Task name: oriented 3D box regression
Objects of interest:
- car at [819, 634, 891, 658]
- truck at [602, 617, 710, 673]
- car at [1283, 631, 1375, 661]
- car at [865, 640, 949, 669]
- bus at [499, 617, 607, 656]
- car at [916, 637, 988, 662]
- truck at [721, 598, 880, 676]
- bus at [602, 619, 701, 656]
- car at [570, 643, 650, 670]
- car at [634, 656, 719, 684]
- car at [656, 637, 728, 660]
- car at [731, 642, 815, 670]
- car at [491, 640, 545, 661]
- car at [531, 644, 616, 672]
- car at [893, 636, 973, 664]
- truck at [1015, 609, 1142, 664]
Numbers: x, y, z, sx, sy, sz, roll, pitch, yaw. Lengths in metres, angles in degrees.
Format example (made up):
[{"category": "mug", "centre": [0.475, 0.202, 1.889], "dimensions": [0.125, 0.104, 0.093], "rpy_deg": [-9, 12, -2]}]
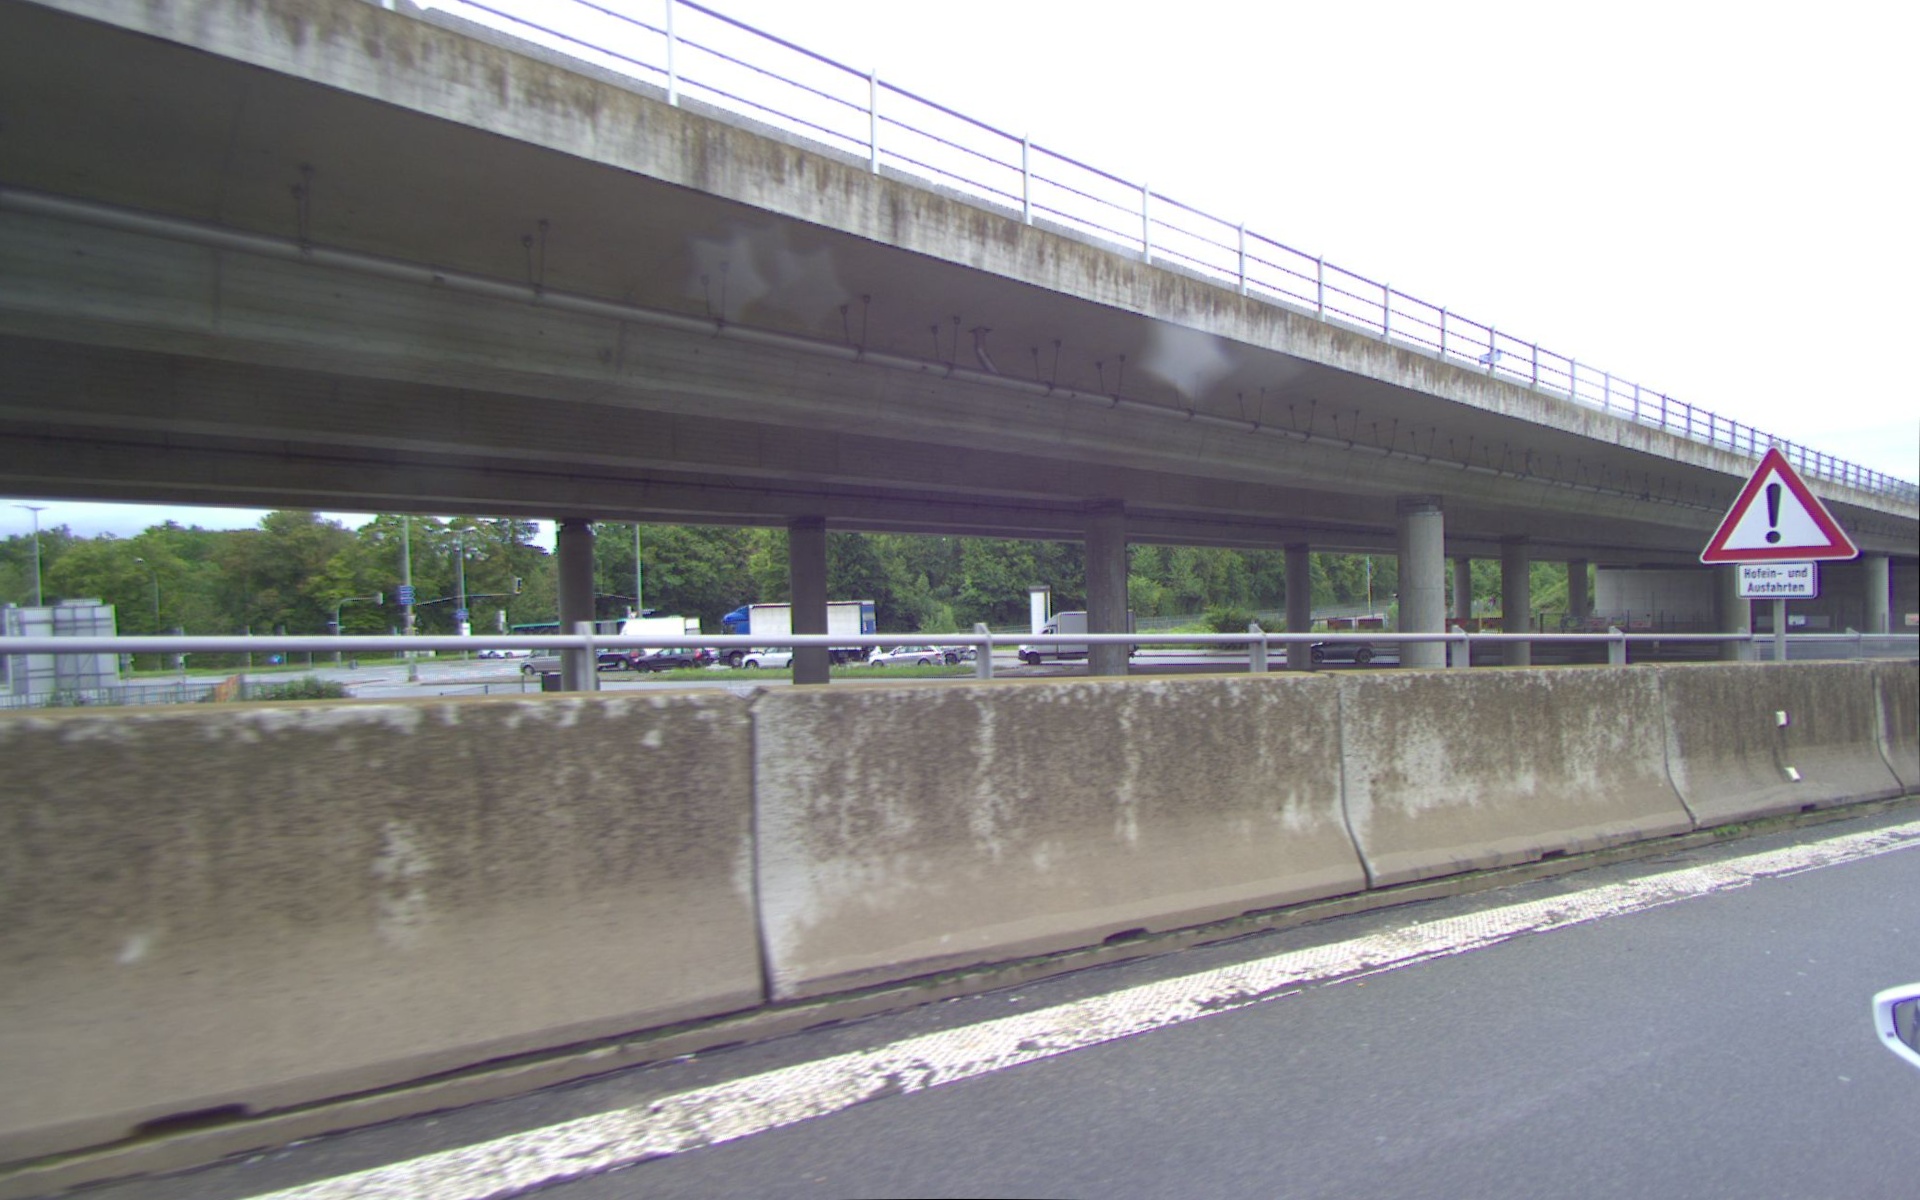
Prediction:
[{"category": "car", "centre": [-7.114, 3.116, 68.342], "dimensions": [4.498, 1.604, 1.977], "rpy_deg": [-1, -1, 13]}, {"category": "truck", "centre": [-20.639, 3.031, 68.361], "dimensions": [6.509, 3.728, 2.801], "rpy_deg": [-1, -1, 13]}, {"category": "car", "centre": [20.448, 2.524, 55.812], "dimensions": [4.498, 1.604, 1.977], "rpy_deg": [0, -1, 10]}, {"category": "car", "centre": [-3.055, 3.152, 57.943], "dimensions": [4.498, 1.604, 1.977], "rpy_deg": [0, -1, 10]}, {"category": "bus", "centre": [-40.878, 3.663, 101.140], "dimensions": [9.807, 3.750, 2.211], "rpy_deg": [2, -1, -33]}, {"category": "car", "centre": [-0.510, 3.282, 66.725], "dimensions": [4.498, 1.604, 1.977], "rpy_deg": [-1, -1, 13]}, {"category": "truck", "centre": [-9.882, 2.271, 62.525], "dimensions": [9.407, 4.652, 2.801], "rpy_deg": [-1, -1, 13]}, {"category": "bus", "centre": [-32.597, 3.959, 106.441], "dimensions": [9.807, 3.750, 2.211], "rpy_deg": [2, -1, -33]}, {"category": "car", "centre": [-22.632, 3.644, 65.062], "dimensions": [4.498, 1.627, 1.977], "rpy_deg": [0, -1, 10]}, {"category": "car", "centre": [-17.080, 4.191, 60.575], "dimensions": [4.498, 1.604, 1.977], "rpy_deg": [0, -1, 11]}, {"category": "car", "centre": [-18.864, 3.402, 70.807], "dimensions": [4.498, 1.604, 1.977], "rpy_deg": [-1, -1, 13]}, {"category": "car", "centre": [-11.120, 3.324, 59.712], "dimensions": [4.498, 1.604, 1.977], "rpy_deg": [0, -1, 10]}, {"category": "car", "centre": [-39.266, 4.444, 89.322], "dimensions": [1.773, 1.728, 3.979], "rpy_deg": [-3, -2, 41]}, {"category": "car", "centre": [-23.958, 3.566, 62.337], "dimensions": [4.498, 1.627, 1.977], "rpy_deg": [0, -1, 10]}, {"category": "car", "centre": [-1.599, 2.995, 60.639], "dimensions": [4.498, 1.604, 1.977], "rpy_deg": [-1, -1, 13]}, {"category": "truck", "centre": [6.941, 2.125, 58.672], "dimensions": [7.086, 3.016, 2.262], "rpy_deg": [1, -1, 14]}]
